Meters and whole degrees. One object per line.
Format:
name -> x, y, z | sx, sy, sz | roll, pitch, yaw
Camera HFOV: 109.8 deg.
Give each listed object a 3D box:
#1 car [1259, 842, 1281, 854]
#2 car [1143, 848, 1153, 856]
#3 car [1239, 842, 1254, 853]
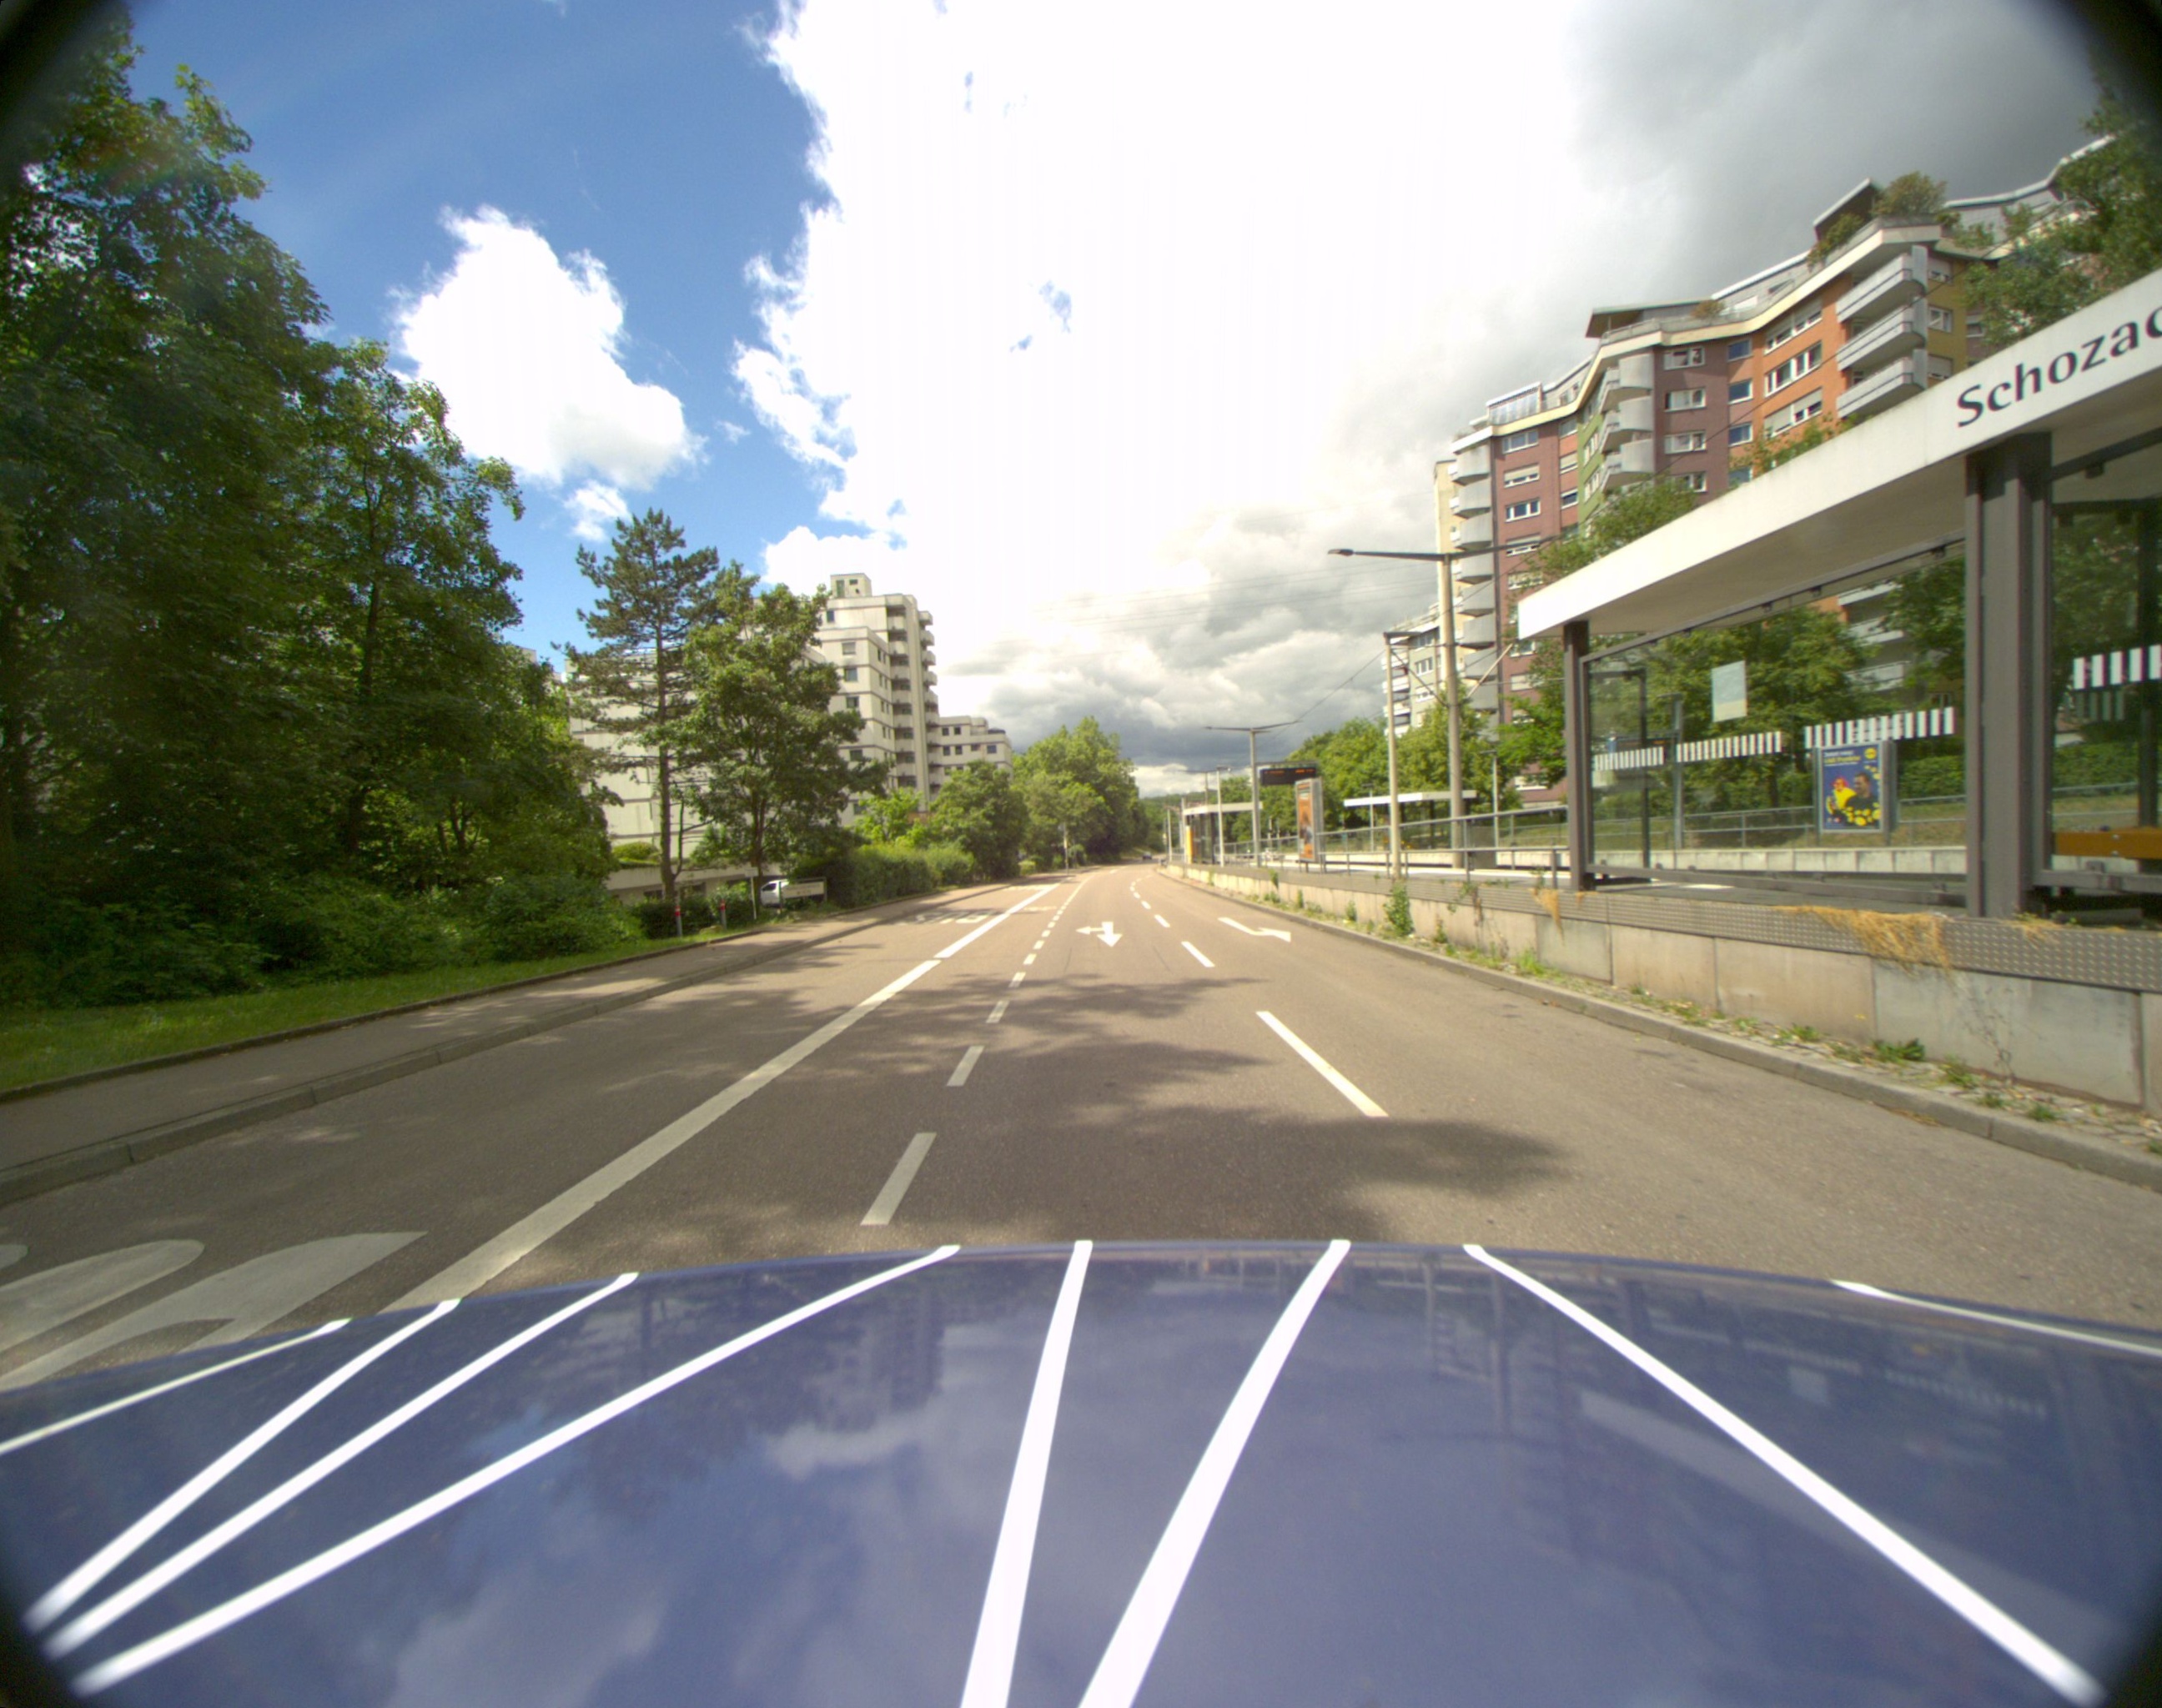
car -> 22.725, -0.705, 91.410 | 1.658, 1.410, 4.000 | -2, 0, 1
car -> 12.414, -0.340, 140.199 | 1.736, 1.477, 3.817 | -2, 1, 5
car -> 23.531, -0.911, 108.097 | 1.658, 1.503, 3.738 | -2, 0, 5
